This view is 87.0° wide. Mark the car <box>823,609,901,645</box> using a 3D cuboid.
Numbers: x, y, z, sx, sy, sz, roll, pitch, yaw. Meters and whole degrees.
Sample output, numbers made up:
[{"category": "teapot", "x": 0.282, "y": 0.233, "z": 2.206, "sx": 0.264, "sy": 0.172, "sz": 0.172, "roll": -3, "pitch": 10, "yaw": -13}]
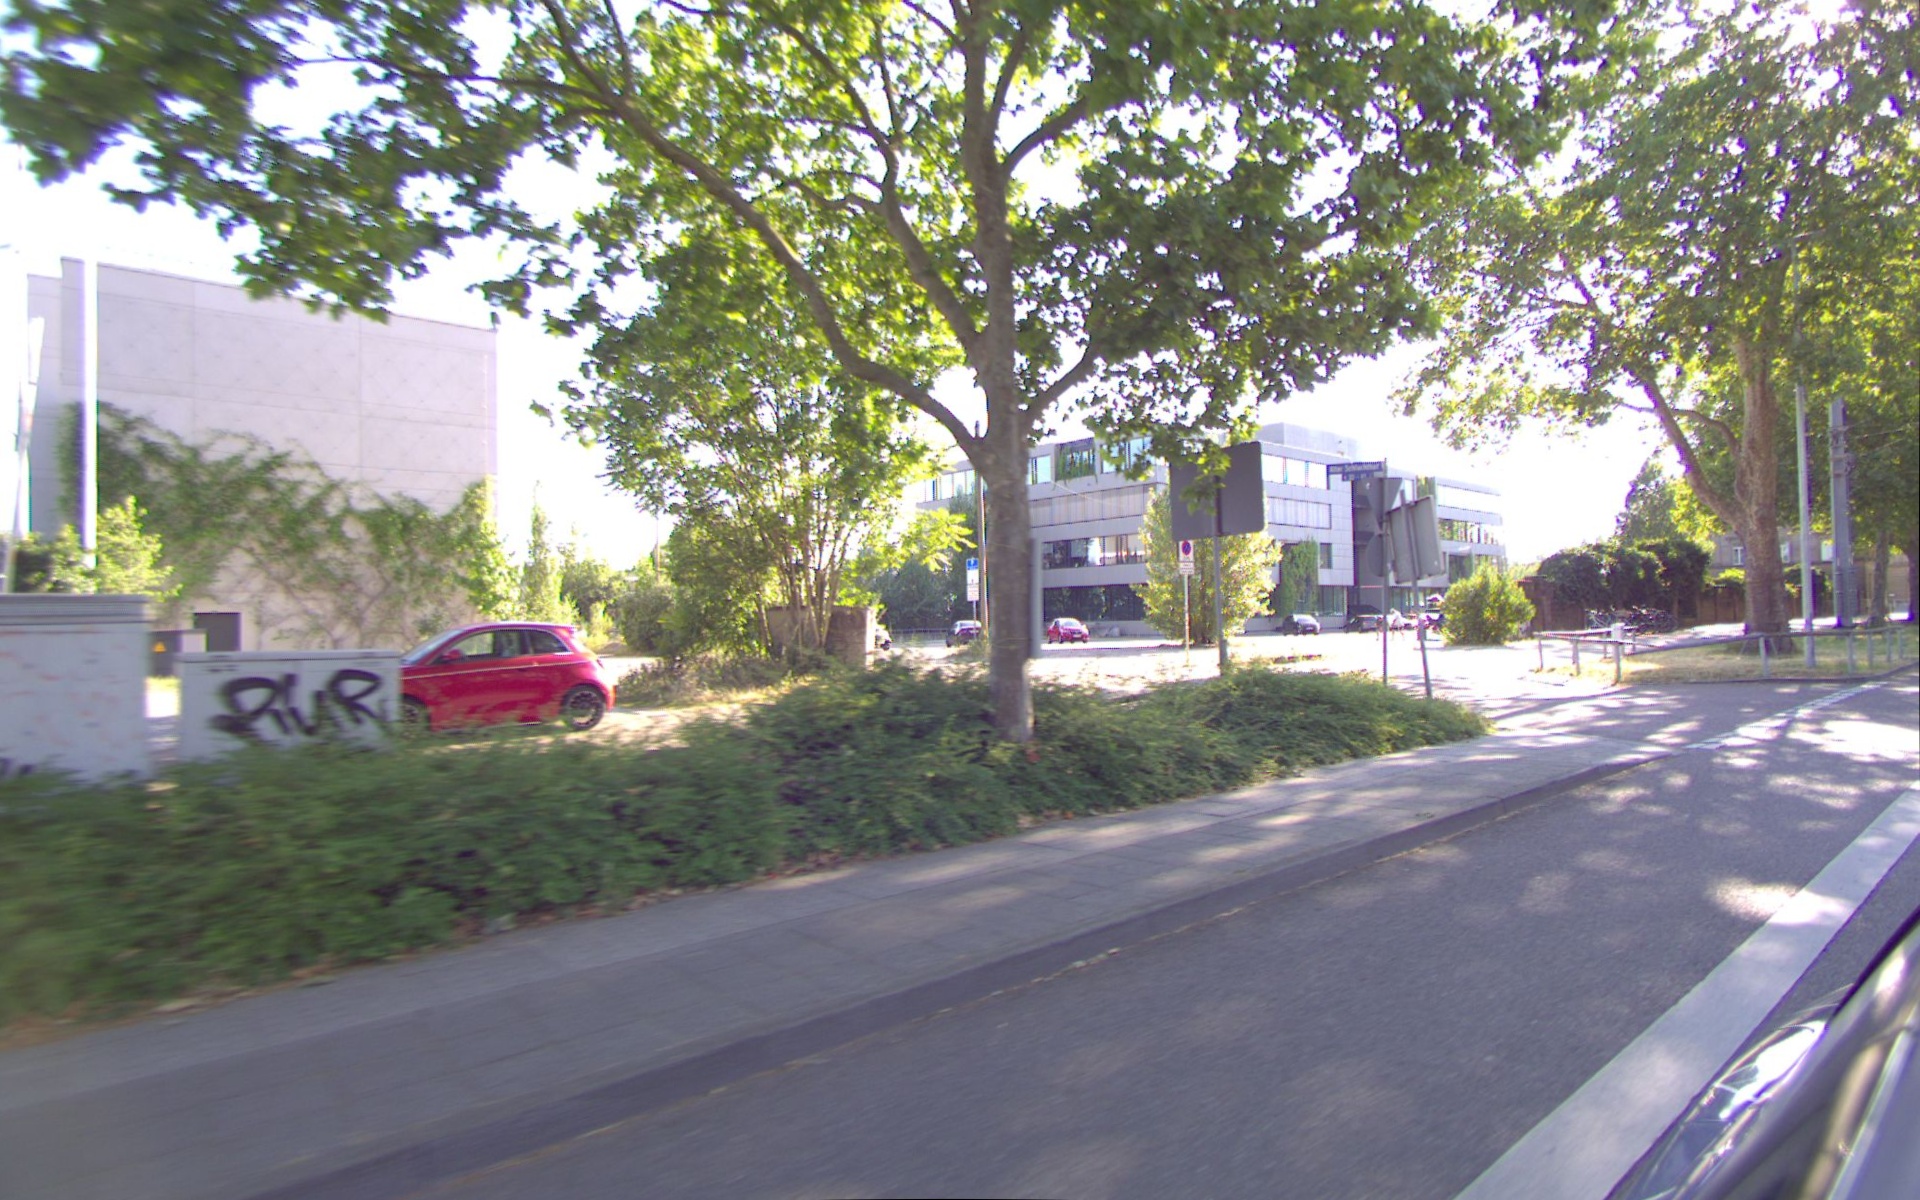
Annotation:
[{"category": "car", "x": -4.830, "y": 1.328, "z": 49.381, "sx": 1.825, "sy": 1.632, "sz": 4.363, "roll": -1, "pitch": -1, "yaw": -36}]

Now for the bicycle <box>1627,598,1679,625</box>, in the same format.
[{"category": "bicycle", "x": 29.480, "y": 0.489, "z": 43.075, "sx": 0.432, "sy": 1.134, "sz": 1.776, "roll": 0, "pitch": 0, "yaw": -41}]

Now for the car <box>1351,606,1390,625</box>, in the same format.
[{"category": "car", "x": 34.627, "y": 1.287, "z": 85.380, "sx": 1.618, "sy": 1.541, "sz": 3.667, "roll": -1, "pitch": -1, "yaw": -2}]

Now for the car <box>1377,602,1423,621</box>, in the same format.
[{"category": "car", "x": 39.518, "y": 1.053, "z": 91.033, "sx": 1.615, "sy": 1.584, "sz": 3.722, "roll": -1, "pitch": -1, "yaw": -21}]

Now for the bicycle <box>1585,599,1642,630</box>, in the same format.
[{"category": "bicycle", "x": 24.904, "y": 0.537, "z": 38.573, "sx": 1.772, "sy": 1.134, "sz": 0.433, "roll": 0, "pitch": 0, "yaw": 43}]

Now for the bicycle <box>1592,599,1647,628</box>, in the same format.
[{"category": "bicycle", "x": 26.286, "y": 0.520, "z": 40.362, "sx": 0.432, "sy": 1.134, "sz": 1.776, "roll": 0, "pitch": 0, "yaw": -41}]

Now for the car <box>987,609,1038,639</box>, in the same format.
[{"category": "car", "x": 2.895, "y": 1.336, "z": 57.127, "sx": 1.959, "sy": 1.609, "sz": 4.372, "roll": -1, "pitch": -1, "yaw": -9}]

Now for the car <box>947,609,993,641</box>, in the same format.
[{"category": "car", "x": 0.508, "y": 1.344, "z": 55.105, "sx": 1.821, "sy": 1.632, "sz": 4.371, "roll": -1, "pitch": -1, "yaw": -8}]

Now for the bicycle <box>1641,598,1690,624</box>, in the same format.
[{"category": "bicycle", "x": 30.916, "y": 0.483, "z": 44.355, "sx": 0.432, "sy": 1.134, "sz": 1.690, "roll": 0, "pitch": 0, "yaw": -41}]

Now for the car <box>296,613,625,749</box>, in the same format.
[{"category": "car", "x": -6.696, "y": 0.984, "z": 13.756, "sx": 3.736, "sy": 1.535, "sz": 1.617, "roll": -1, "pitch": -1, "yaw": -41}]

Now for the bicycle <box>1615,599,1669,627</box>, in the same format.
[{"category": "bicycle", "x": 28.011, "y": 0.516, "z": 41.566, "sx": 0.432, "sy": 1.134, "sz": 1.776, "roll": 0, "pitch": 0, "yaw": -41}]

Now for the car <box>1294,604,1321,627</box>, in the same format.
[{"category": "car", "x": 26.564, "y": 1.152, "z": 77.476, "sx": 1.626, "sy": 1.686, "sz": 3.649, "roll": -2, "pitch": -1, "yaw": 14}]

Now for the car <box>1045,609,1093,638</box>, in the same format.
[{"category": "car", "x": 6.469, "y": 1.401, "z": 60.432, "sx": 1.844, "sy": 1.632, "sz": 4.371, "roll": -1, "pitch": -1, "yaw": -8}]

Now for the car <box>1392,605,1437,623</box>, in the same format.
[{"category": "car", "x": 41.594, "y": 1.303, "z": 92.690, "sx": 1.616, "sy": 1.584, "sz": 3.672, "roll": -1, "pitch": -1, "yaw": -23}]

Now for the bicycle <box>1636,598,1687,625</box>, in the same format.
[{"category": "bicycle", "x": 30.234, "y": 0.491, "z": 43.629, "sx": 0.432, "sy": 1.134, "sz": 1.776, "roll": 0, "pitch": 0, "yaw": -41}]

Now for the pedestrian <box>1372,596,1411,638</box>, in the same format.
[{"category": "pedestrian", "x": 21.784, "y": 0.860, "z": 51.085, "sx": 1.028, "sy": 2.040, "sz": 1.397, "roll": -1, "pitch": -2, "yaw": -28}]

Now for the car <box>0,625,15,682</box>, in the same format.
[{"category": "car", "x": -28.633, "y": 1.528, "z": 27.764, "sx": 3.934, "sy": 1.575, "sz": 1.919, "roll": -1, "pitch": -1, "yaw": -44}]

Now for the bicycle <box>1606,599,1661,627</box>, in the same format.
[{"category": "bicycle", "x": 27.171, "y": 0.518, "z": 40.838, "sx": 0.432, "sy": 1.134, "sz": 1.776, "roll": 0, "pitch": 0, "yaw": -41}]

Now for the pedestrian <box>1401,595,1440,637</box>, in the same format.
[{"category": "pedestrian", "x": 23.102, "y": 0.807, "z": 50.798, "sx": 1.028, "sy": 2.040, "sz": 1.397, "roll": -1, "pitch": -2, "yaw": -28}]
